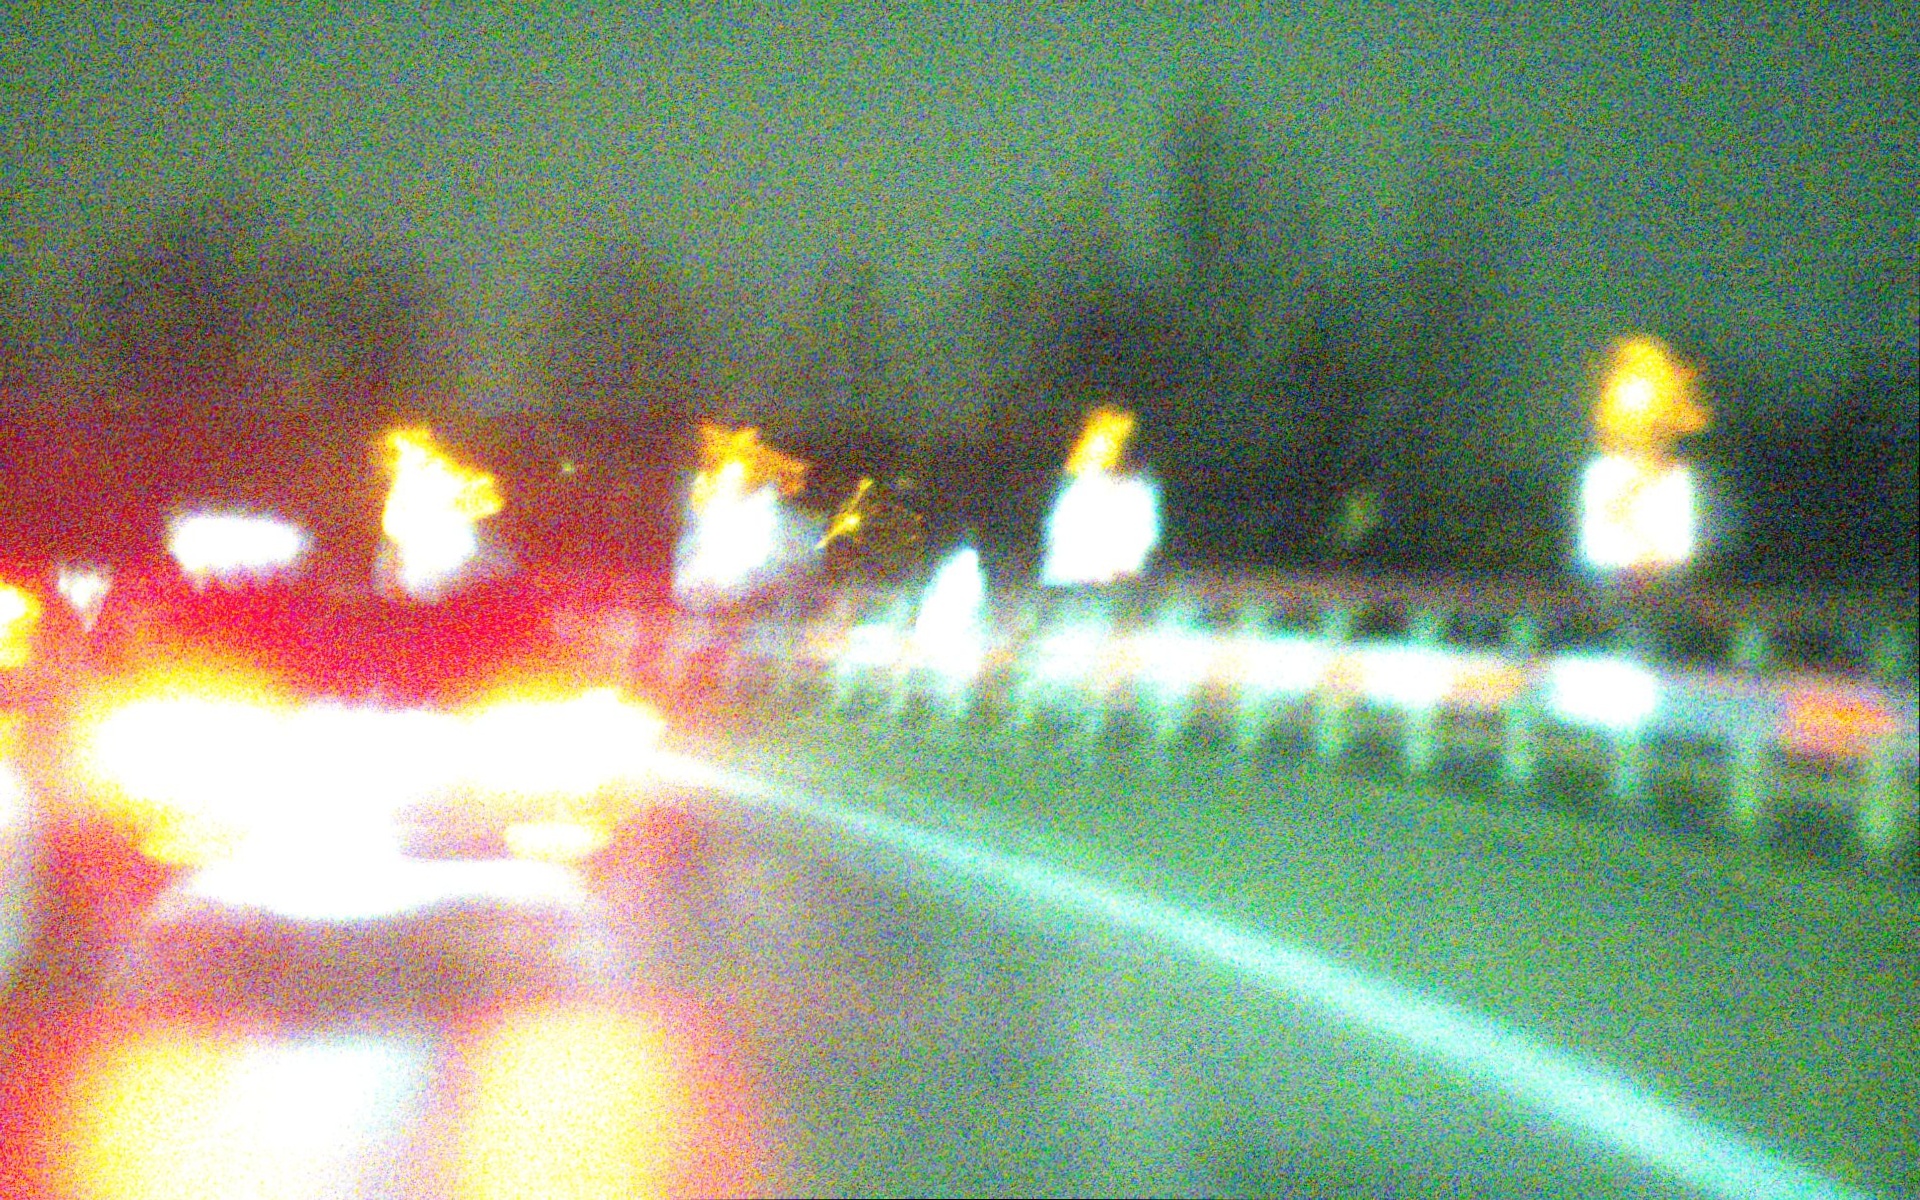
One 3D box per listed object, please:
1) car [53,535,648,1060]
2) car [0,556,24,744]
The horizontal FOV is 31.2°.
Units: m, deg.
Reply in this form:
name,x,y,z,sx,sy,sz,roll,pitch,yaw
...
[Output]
name,x,y,z,sx,sy,sz,roll,pitch,yaw
car,-2.345,0.591,13.028,1.860,1.641,4.070,-1,1,-11
car,-10.364,0.408,33.112,1.895,1.714,4.046,1,1,-25
